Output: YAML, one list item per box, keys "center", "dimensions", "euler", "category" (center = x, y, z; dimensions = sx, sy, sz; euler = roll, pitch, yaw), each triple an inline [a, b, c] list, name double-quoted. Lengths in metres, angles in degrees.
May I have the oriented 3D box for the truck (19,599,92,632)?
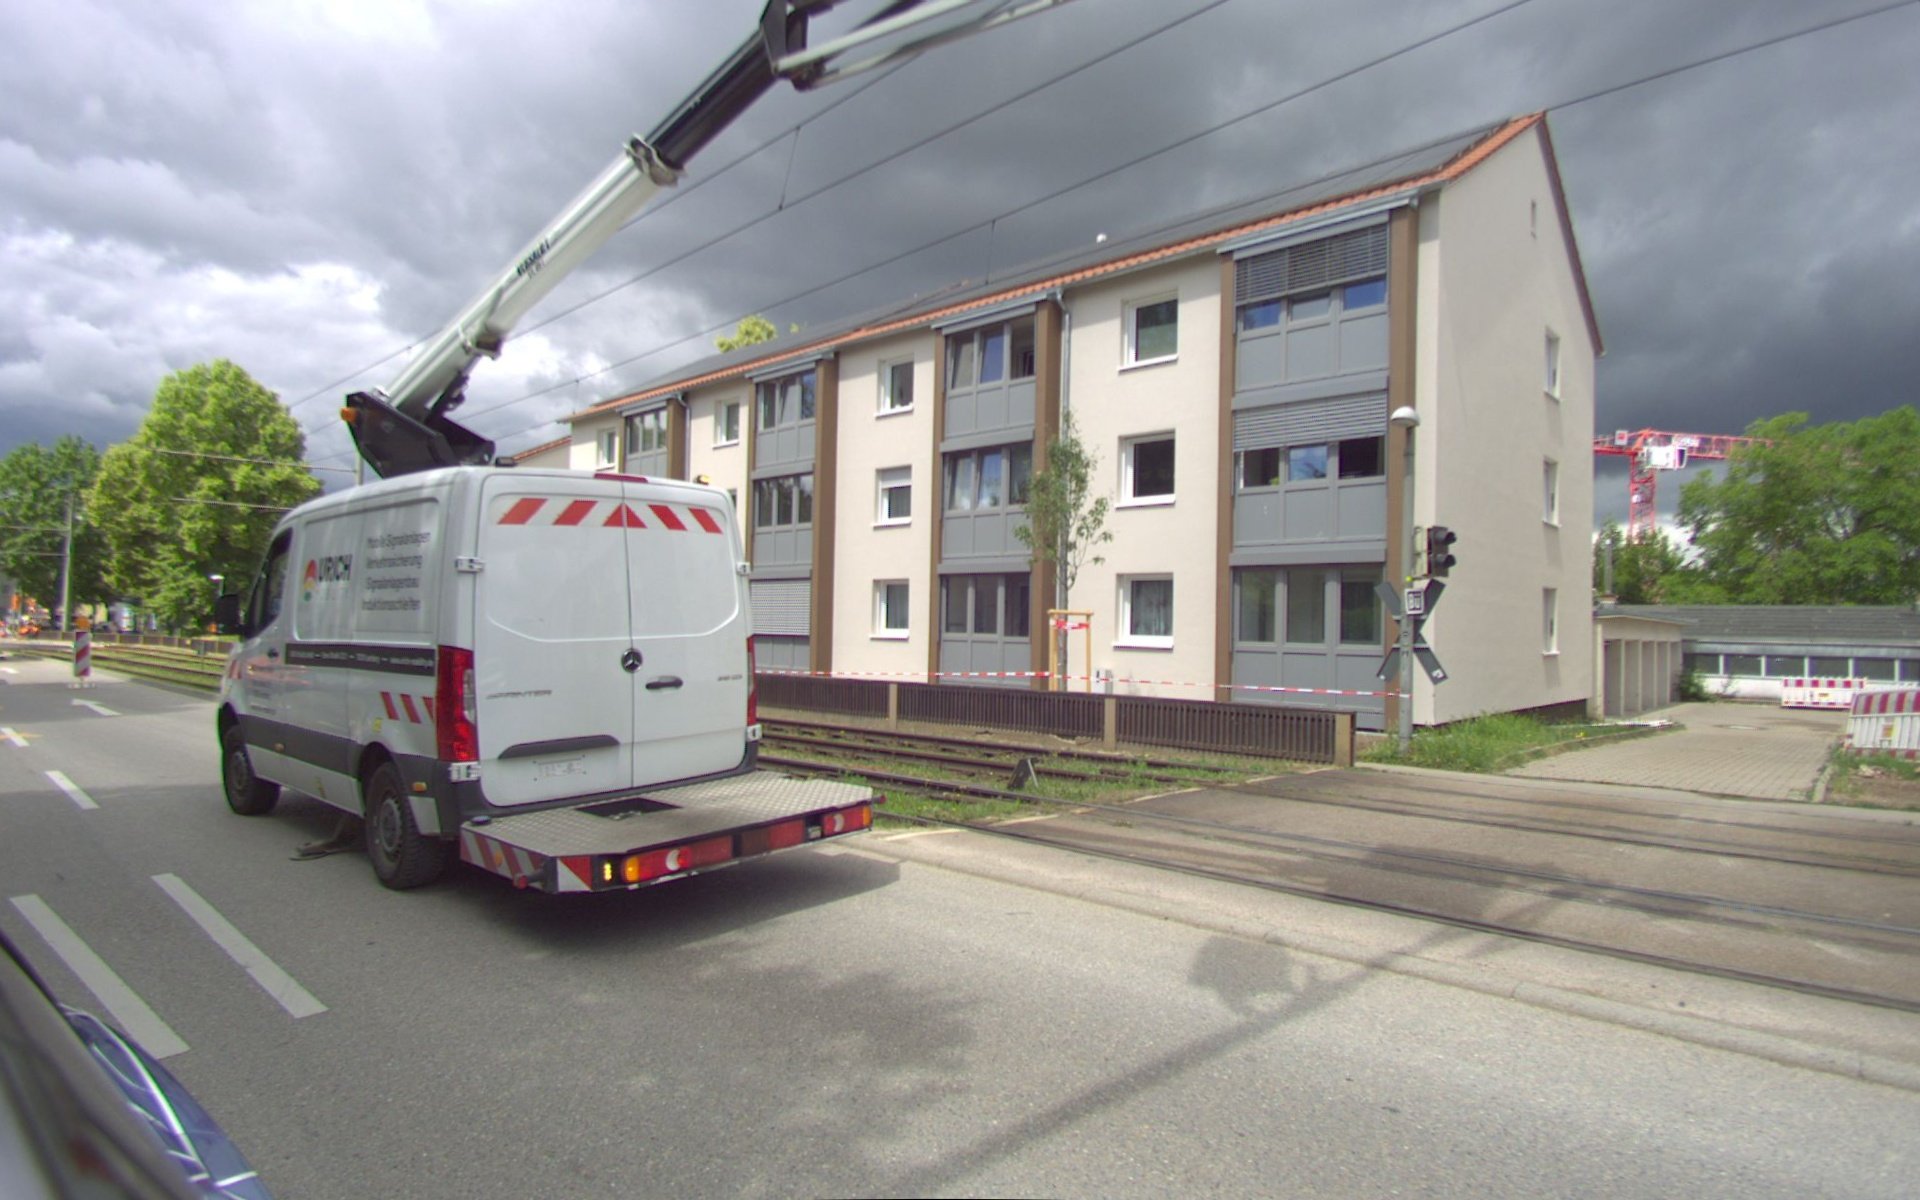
- center: [-75.533, 1.328, 84.620]
  dimensions: [2.378, 2.588, 5.600]
  euler: [2, -3, -18]
  category: "truck"

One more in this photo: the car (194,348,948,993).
- center: [-3.084, 0.326, 6.695]
  dimensions: [6.319, 2.449, 1.972]
  euler: [-2, -1, 42]
  category: "car"
